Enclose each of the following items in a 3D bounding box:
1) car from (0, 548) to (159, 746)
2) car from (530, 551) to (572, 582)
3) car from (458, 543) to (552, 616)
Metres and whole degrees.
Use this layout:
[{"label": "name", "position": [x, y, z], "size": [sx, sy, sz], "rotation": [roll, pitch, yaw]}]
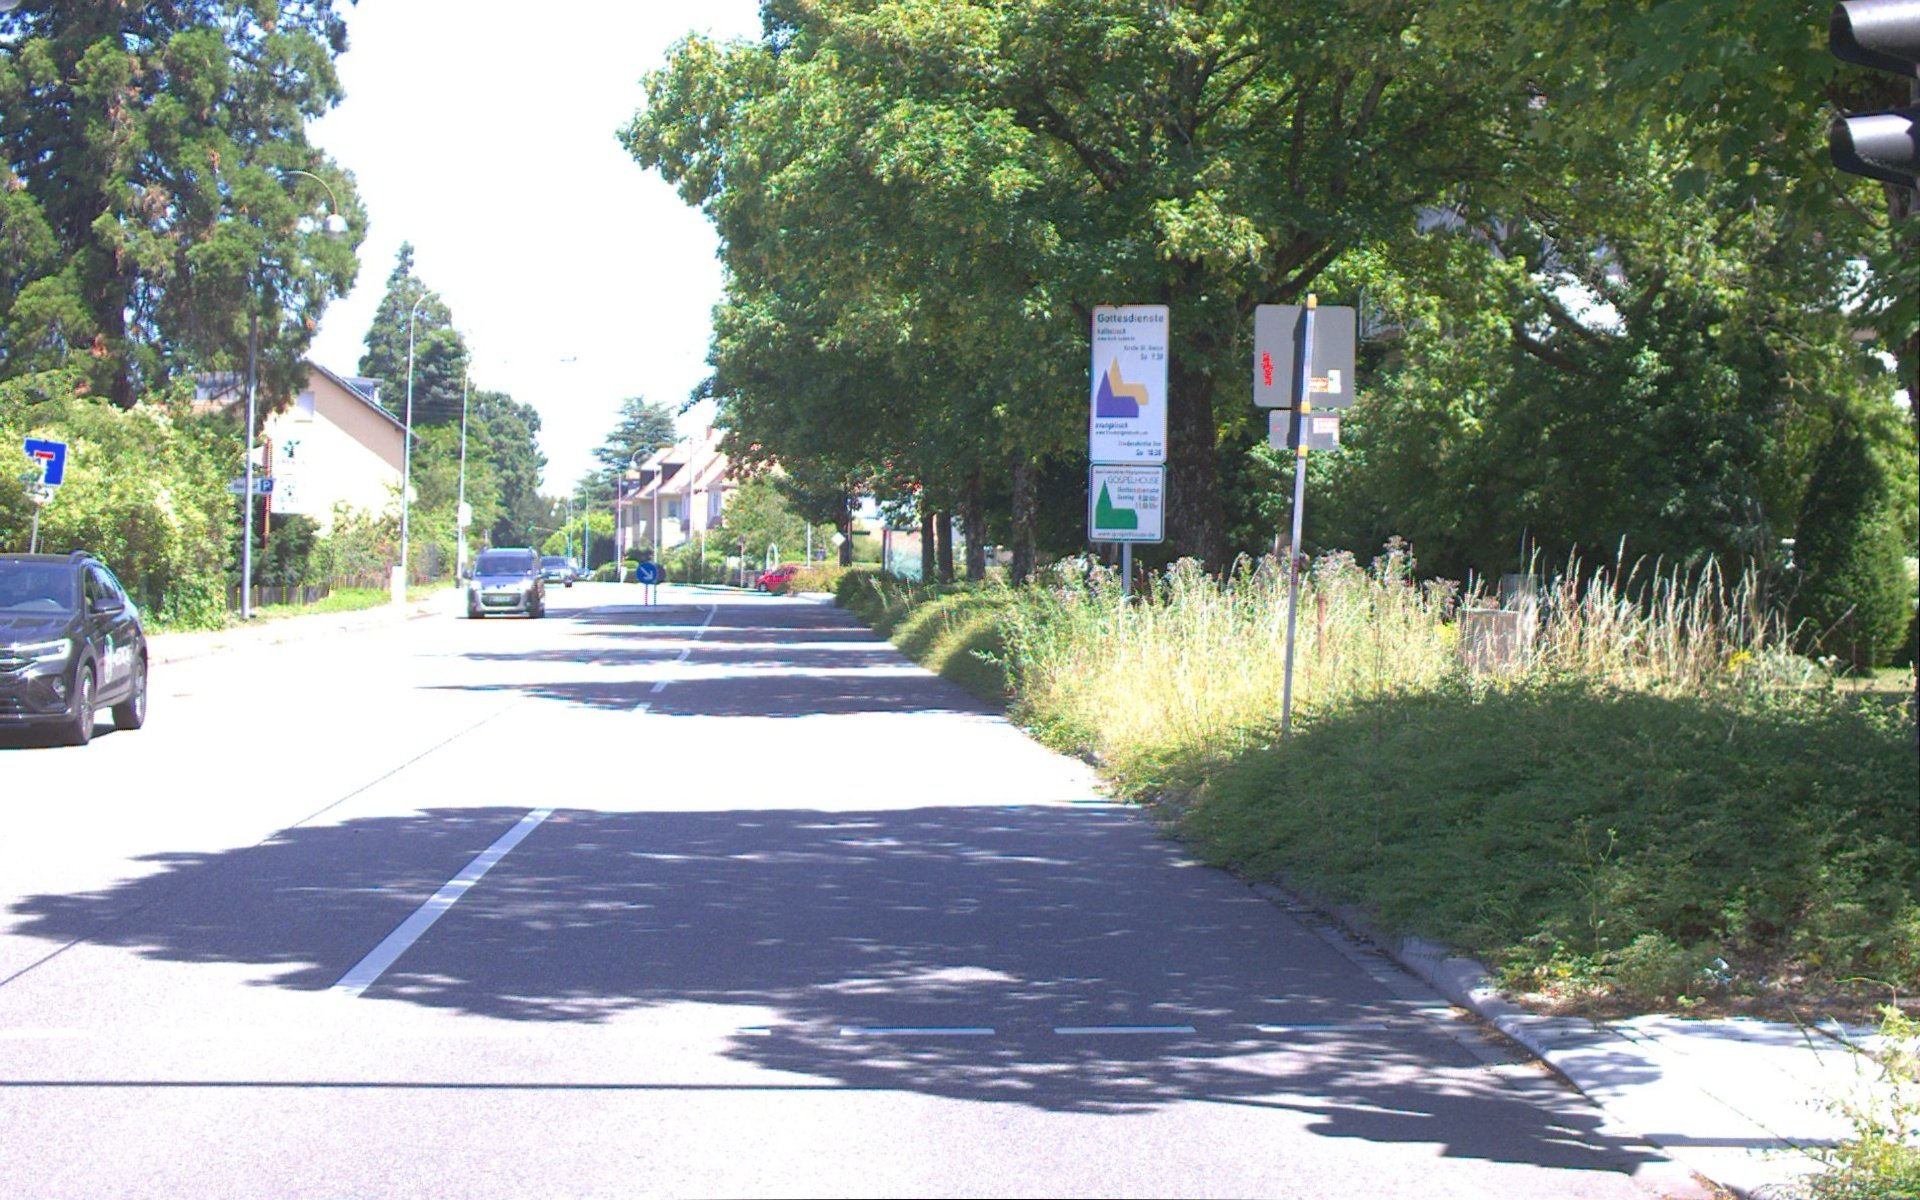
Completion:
[{"label": "car", "position": [-7.786, 0.324, 28.003], "size": [1.869, 1.501, 4.053], "rotation": [0, 1, -5]}, {"label": "car", "position": [-20.358, -1.689, 171.278], "size": [1.793, 1.531, 4.316], "rotation": [0, 1, -3]}, {"label": "car", "position": [-11.483, -0.542, 86.987], "size": [1.811, 1.756, 4.570], "rotation": [1, 1, -1]}]
